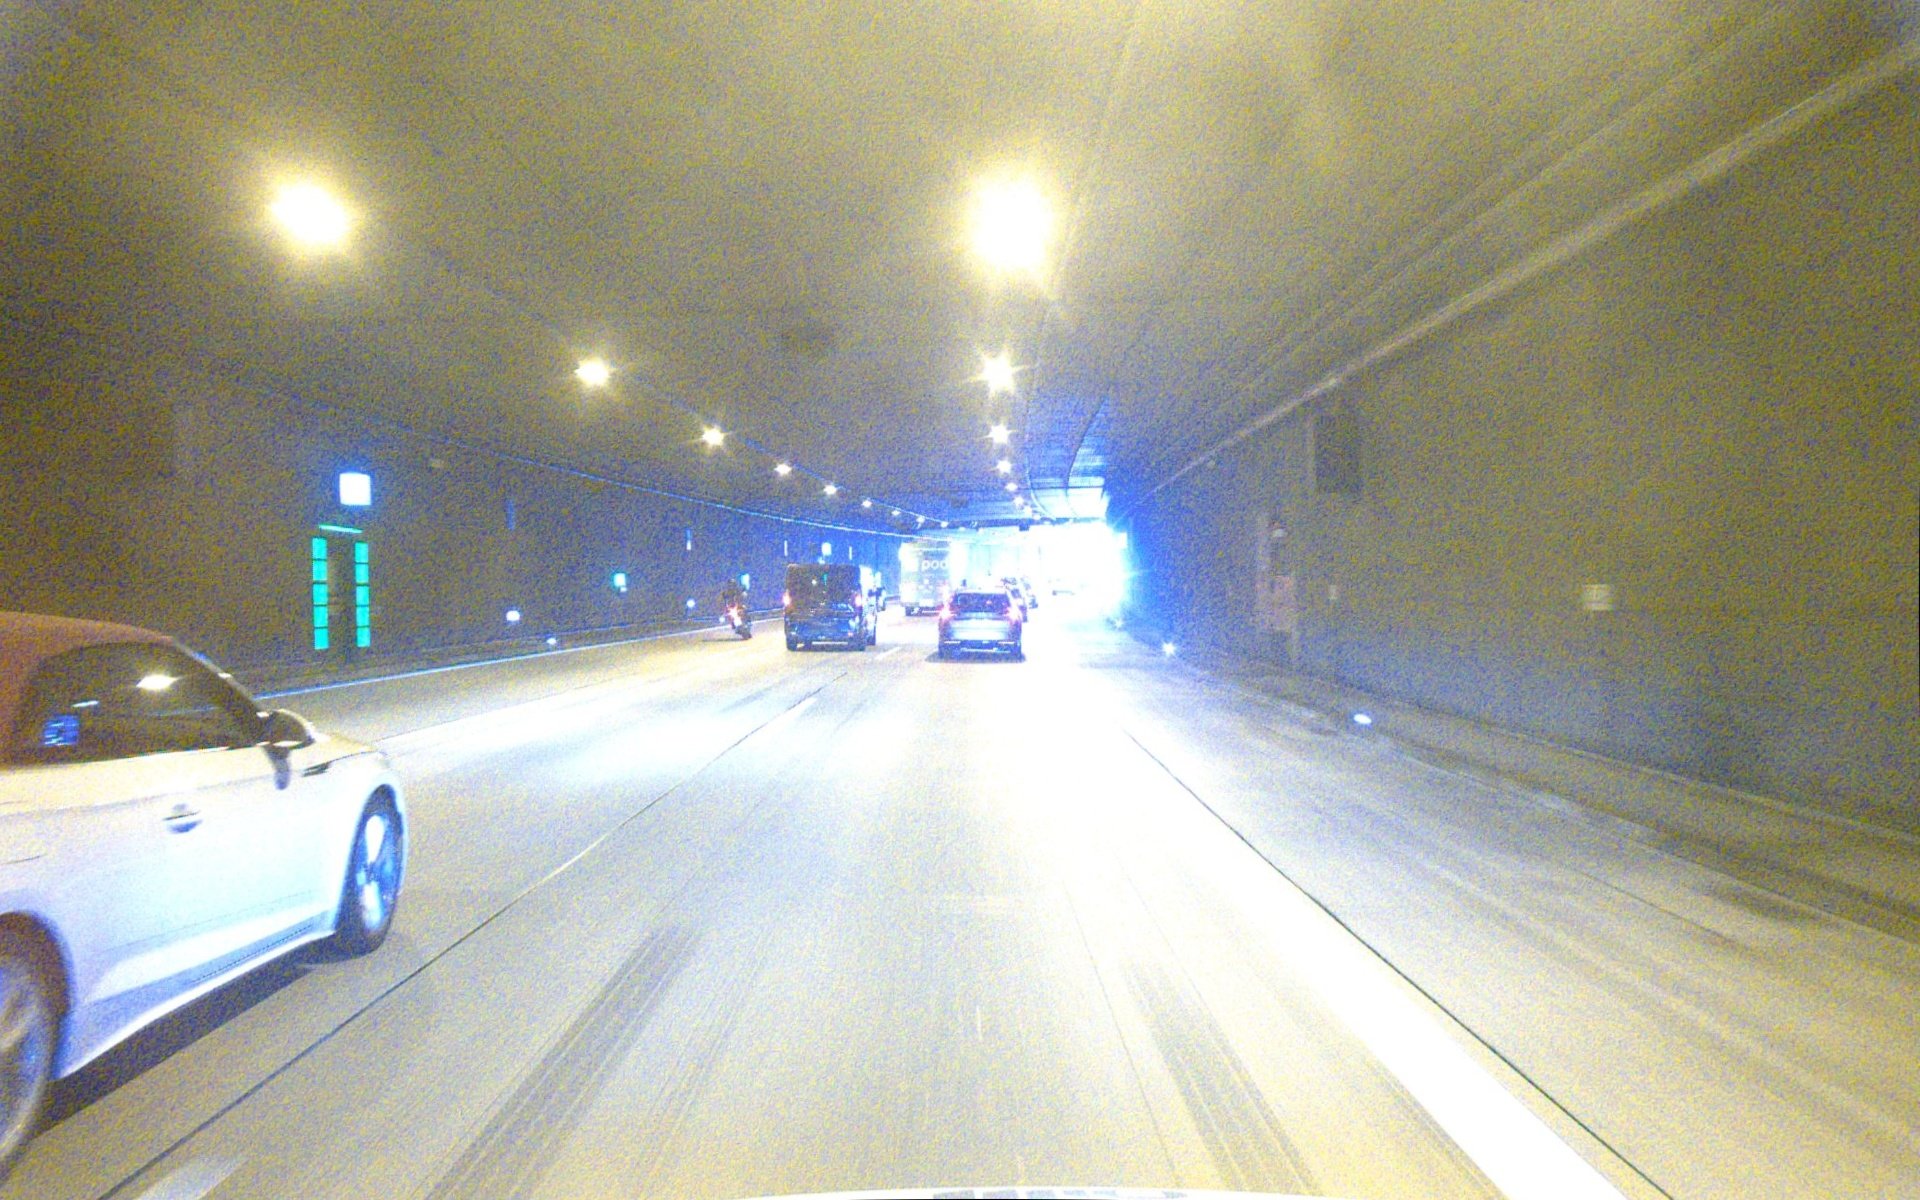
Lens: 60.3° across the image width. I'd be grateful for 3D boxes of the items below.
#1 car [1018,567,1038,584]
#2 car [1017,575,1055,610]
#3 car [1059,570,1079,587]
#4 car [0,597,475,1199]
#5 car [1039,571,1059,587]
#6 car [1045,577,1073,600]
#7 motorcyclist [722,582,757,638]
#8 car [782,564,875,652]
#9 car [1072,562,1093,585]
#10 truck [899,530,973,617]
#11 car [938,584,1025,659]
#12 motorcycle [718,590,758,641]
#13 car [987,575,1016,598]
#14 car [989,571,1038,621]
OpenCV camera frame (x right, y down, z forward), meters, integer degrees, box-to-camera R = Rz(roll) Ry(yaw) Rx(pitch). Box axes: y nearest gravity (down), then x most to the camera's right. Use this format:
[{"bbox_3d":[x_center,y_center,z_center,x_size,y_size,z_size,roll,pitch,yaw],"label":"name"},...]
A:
[{"bbox_3d":[6.997,-2.503,169.788,1.889,1.671,4.003,0,0,6],"label":"car"},{"bbox_3d":[4.104,-0.392,90.177,1.910,1.803,3.999,0,-1,0],"label":"car"},{"bbox_3d":[11.541,-2.229,174.659,1.951,1.660,4.002,0,-1,6],"label":"car"},{"bbox_3d":[-3.093,0.721,5.276,1.667,1.443,5.059,0,0,-1],"label":"car"},{"bbox_3d":[10.287,-2.406,191.401,1.889,1.671,4.003,0,-1,10],"label":"car"},{"bbox_3d":[7.745,-0.911,129.771,1.891,1.671,3.998,0,-1,-1],"label":"car"},{"bbox_3d":[-5.910,0.288,44.336,0.761,1.478,1.069,0,-2,2],"label":"motorcyclist"},{"bbox_3d":[-3.055,0.135,39.028,1.870,1.978,3.871,0,1,0],"label":"car"},{"bbox_3d":[11.631,-2.520,157.214,1.952,2.049,4.001,0,-1,3],"label":"car"},{"bbox_3d":[-0.999,-1.178,74.942,2.976,3.737,7.395,0,0,2],"label":"truck"},{"bbox_3d":[0.510,0.418,35.641,1.706,1.489,3.873,0,1,3],"label":"car"},{"bbox_3d":[-5.935,0.424,44.285,0.668,1.320,2.399,0,-1,2],"label":"motorcycle"},{"bbox_3d":[3.189,-1.025,127.213,1.951,1.660,4.002,0,0,6],"label":"car"},{"bbox_3d":[2.153,-0.163,65.571,1.818,1.887,4.002,0,0,4],"label":"car"}]
